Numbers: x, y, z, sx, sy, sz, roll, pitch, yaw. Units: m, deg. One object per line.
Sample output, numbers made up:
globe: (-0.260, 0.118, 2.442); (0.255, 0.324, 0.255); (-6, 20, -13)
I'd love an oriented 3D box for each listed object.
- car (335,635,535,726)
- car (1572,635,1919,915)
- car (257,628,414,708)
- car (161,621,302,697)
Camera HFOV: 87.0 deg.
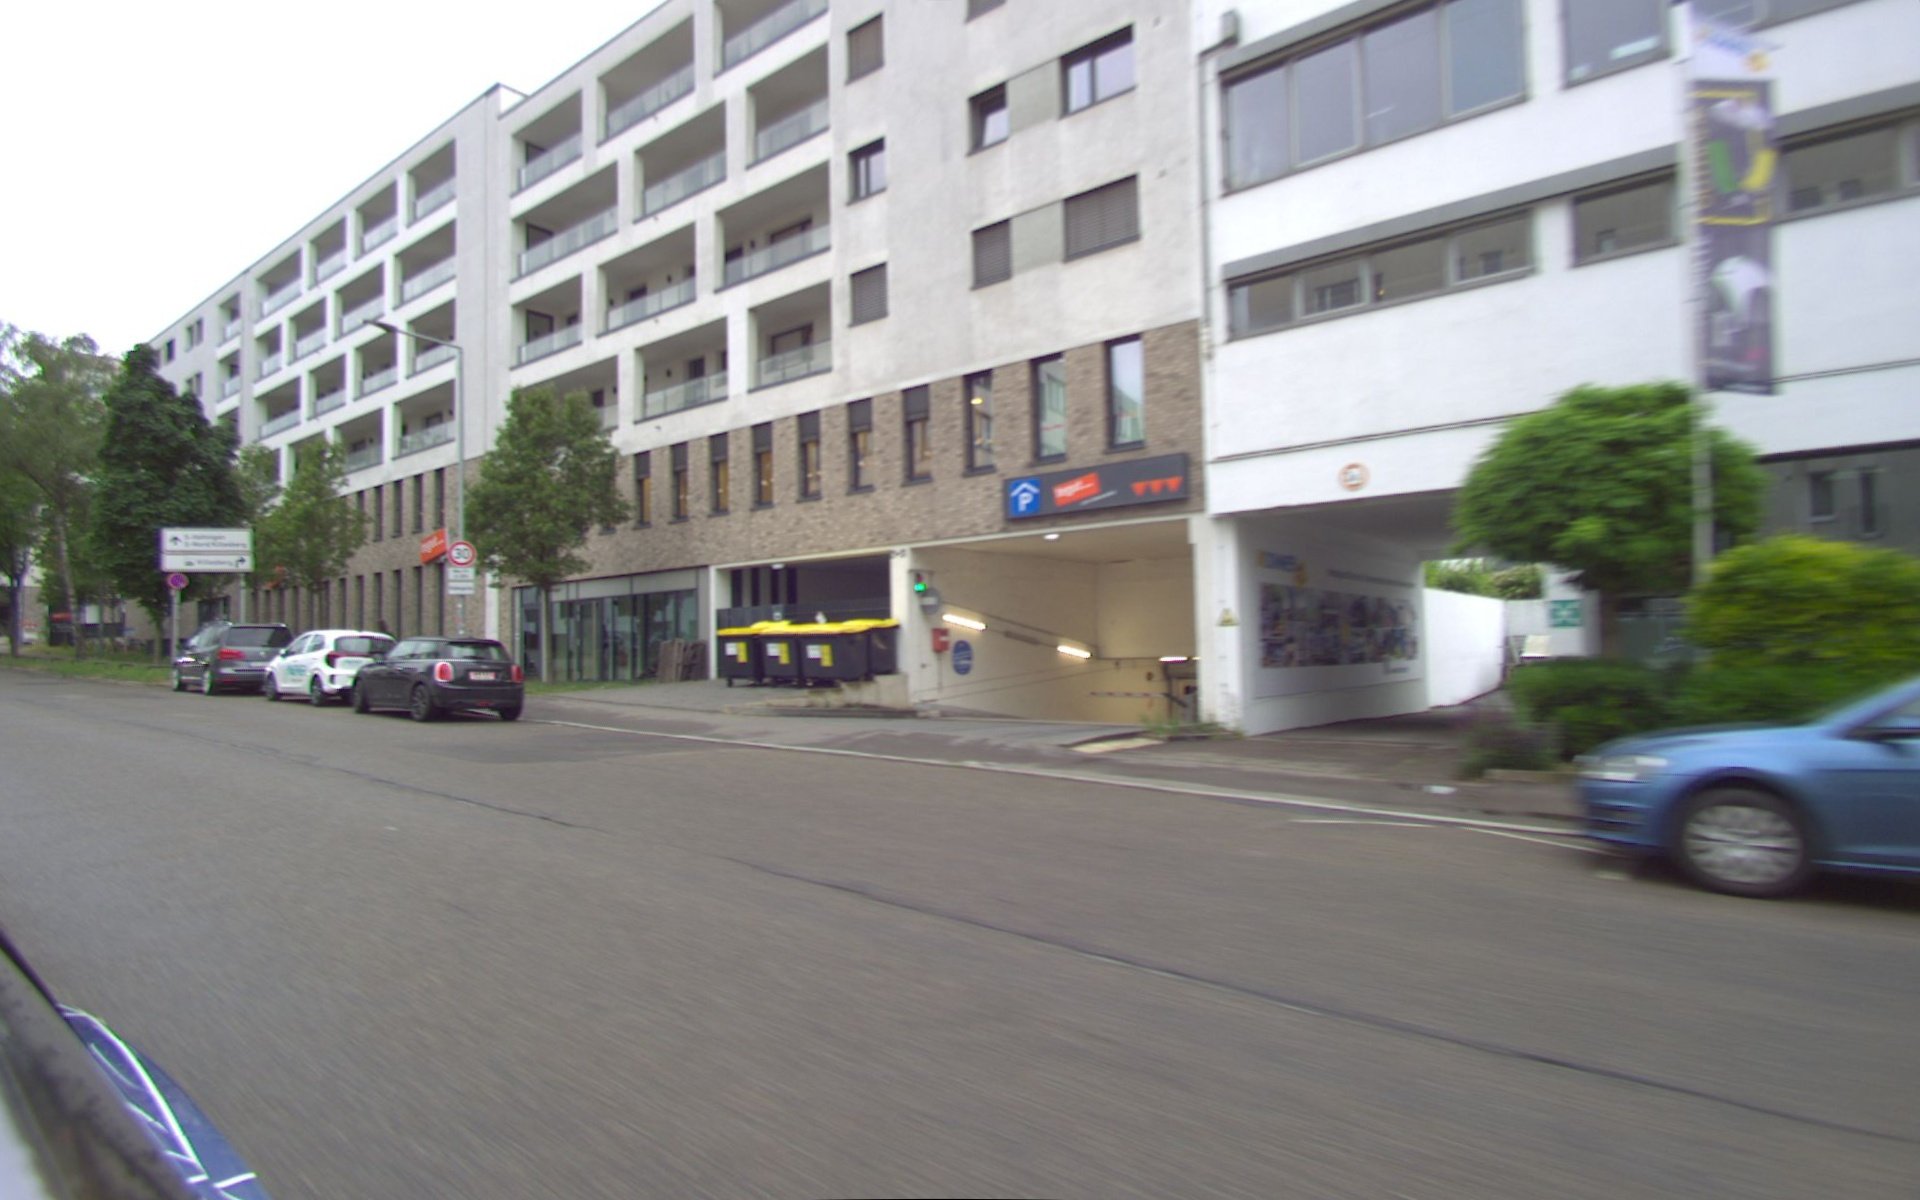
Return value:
car: (-9.318, 1.362, 17.880); (3.733, 1.402, 1.642); (-1, -4, 37)
car: (5.860, 0.934, 5.506); (4.258, 1.414, 1.642); (-1, -4, 34)
car: (-12.898, 1.375, 20.858); (3.417, 1.479, 1.578); (-1, -5, 38)
car: (-17.156, 1.372, 23.776); (3.968, 1.630, 1.610); (-1, -5, 39)
